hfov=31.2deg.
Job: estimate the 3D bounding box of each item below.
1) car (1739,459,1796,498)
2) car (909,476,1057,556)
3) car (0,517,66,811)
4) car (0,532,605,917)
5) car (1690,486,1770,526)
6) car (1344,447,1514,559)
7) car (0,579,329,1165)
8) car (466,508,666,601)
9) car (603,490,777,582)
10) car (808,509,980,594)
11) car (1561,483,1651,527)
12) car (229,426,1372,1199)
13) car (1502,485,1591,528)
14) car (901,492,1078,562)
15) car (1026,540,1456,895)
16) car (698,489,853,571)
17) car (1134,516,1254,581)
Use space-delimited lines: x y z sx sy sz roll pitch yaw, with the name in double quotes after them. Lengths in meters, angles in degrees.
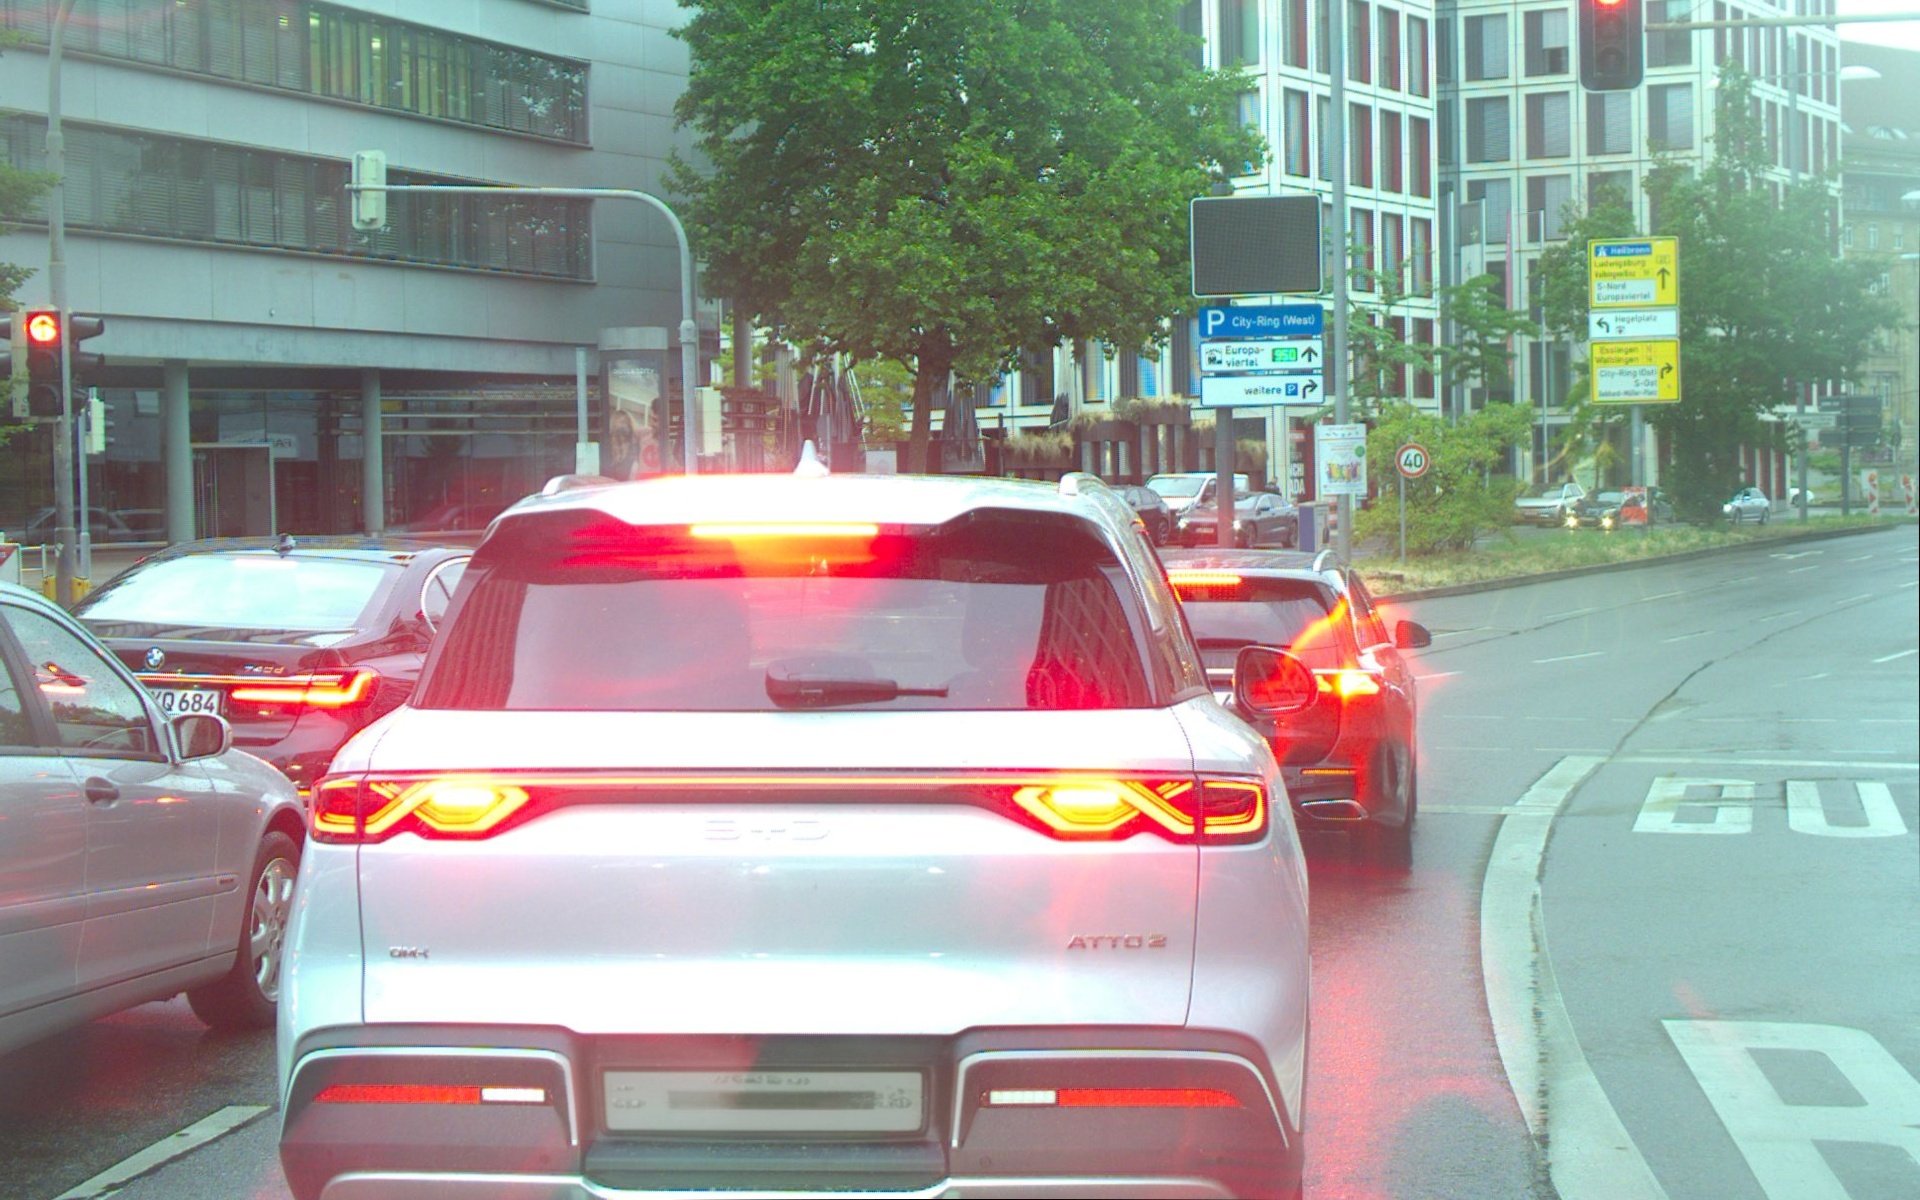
38.373 -5.762 163.398 1.609 1.735 3.439 1 1 32 "car"
0.504 -1.705 69.935 1.645 1.575 4.081 1 1 21 "car"
-5.877 0.323 16.280 1.707 1.481 3.998 1 1 9 "car"
-2.805 0.466 15.439 1.571 1.481 3.999 1 1 7 "car"
28.938 -3.537 129.117 1.996 1.483 3.994 0 2 27 "car"
8.927 -1.807 65.106 1.996 2.007 4.843 1 1 23 "car"
-3.036 0.654 8.902 1.571 1.402 4.108 1 1 7 "car"
-7.036 -0.845 61.750 1.995 1.605 3.996 1 1 20 "car"
-4.627 -1.110 59.518 1.645 1.530 4.149 1 1 16 "car"
-1.091 -0.815 58.705 1.692 1.380 3.865 1 1 19 "car"
22.366 -3.288 118.882 1.996 1.483 3.994 0 2 27 "car"
-0.204 0.555 7.371 1.776 1.673 4.000 1 1 2 "car"
20.978 -3.363 122.893 1.996 1.483 3.994 0 2 27 "car"
0.725 -1.676 77.979 1.816 1.505 5.188 1 2 28 "car"
1.473 0.478 16.642 1.694 1.481 3.998 1 1 10 "car"
-3.673 -1.391 68.910 1.640 1.565 3.714 1 1 23 "car"
5.985 -1.321 87.478 1.633 1.553 4.588 0 2 23 "car"
